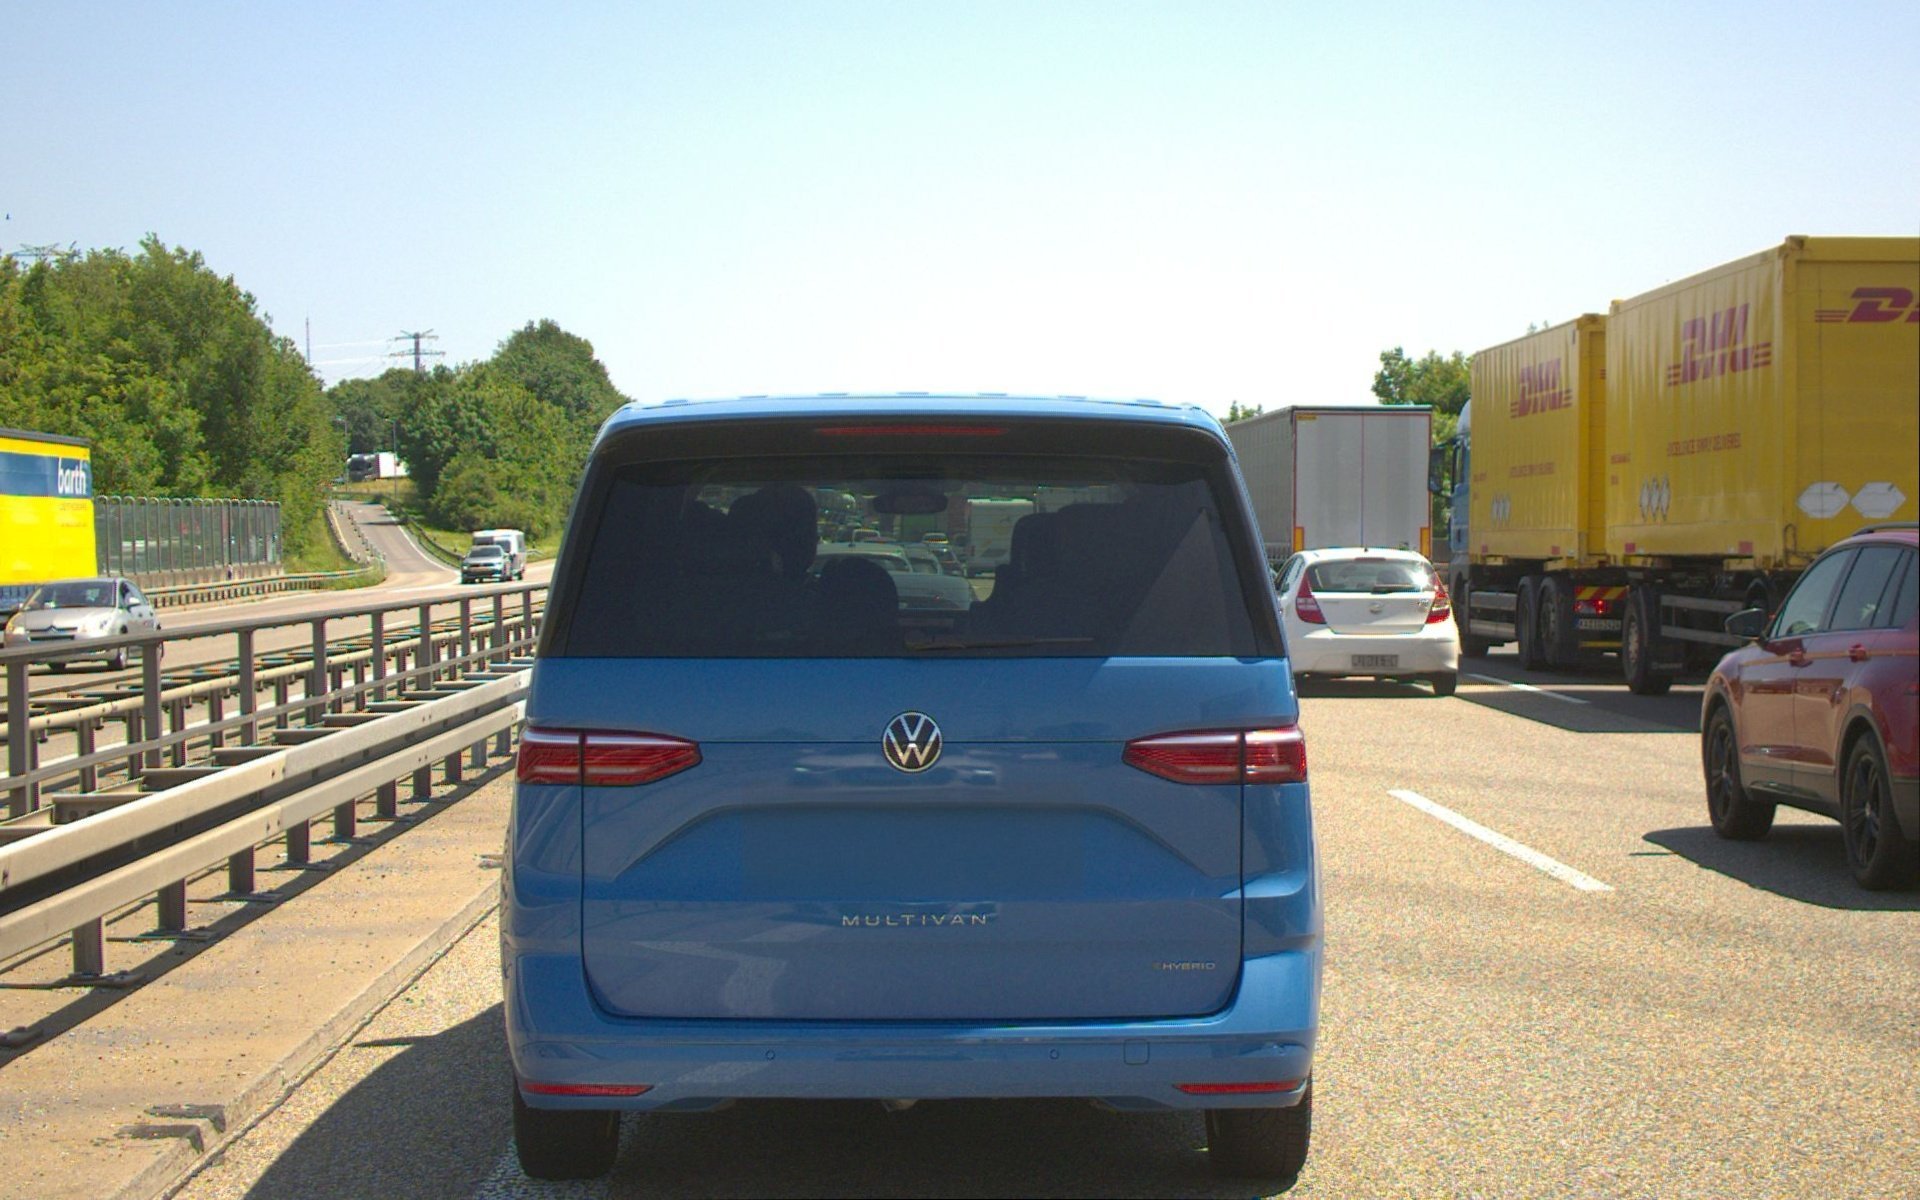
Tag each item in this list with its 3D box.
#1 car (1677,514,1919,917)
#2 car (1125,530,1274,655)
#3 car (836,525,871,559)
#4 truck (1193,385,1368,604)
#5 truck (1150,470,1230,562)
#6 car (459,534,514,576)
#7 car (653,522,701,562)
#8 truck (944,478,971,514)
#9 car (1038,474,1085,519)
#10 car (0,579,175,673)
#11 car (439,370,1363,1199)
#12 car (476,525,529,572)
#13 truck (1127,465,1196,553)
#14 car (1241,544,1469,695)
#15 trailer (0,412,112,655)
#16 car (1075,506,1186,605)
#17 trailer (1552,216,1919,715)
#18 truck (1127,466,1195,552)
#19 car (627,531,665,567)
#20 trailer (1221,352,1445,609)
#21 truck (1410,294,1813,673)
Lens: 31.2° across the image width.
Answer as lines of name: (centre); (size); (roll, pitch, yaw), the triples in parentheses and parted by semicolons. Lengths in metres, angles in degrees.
car: (4.776, 0.427, 16.394); (1.708, 1.673, 4.285); (0, 1, -2)
car: (3.354, -0.121, 48.748); (1.815, 1.673, 3.932); (1, 0, 0)
car: (-6.406, -3.486, 207.197); (1.993, 2.007, 4.000); (1, 0, -1)
truck: (7.049, -2.274, 76.749); (3.026, 4.595, 7.921); (1, 0, -1)
truck: (6.281, -2.278, 94.328); (1.798, 2.441, 4.504); (1, 0, -1)
car: (-20.207, -1.920, 146.931); (1.842, 1.745, 3.943); (1, 0, -1)
car: (-12.711, -2.580, 154.475); (1.842, 1.745, 3.943); (1, 0, -1)
truck: (-0.209, -7.773, 258.256); (1.993, 2.576, 4.553); (1, 0, -1)
car: (4.686, -4.780, 159.158); (1.993, 2.007, 4.000); (1, 0, -1)
car: (-13.442, 0.371, 52.727); (1.689, 1.299, 4.012); (-3, 0, 2)
car: (-0.157, 0.441, 9.260); (1.930, 1.867, 4.000); (1, 0, -1)
car: (-20.215, -2.264, 152.032); (1.842, 2.035, 3.943); (1, 0, -1)
truck: (6.032, -2.710, 103.137); (1.742, 2.540, 4.210); (1, 0, -1)
car: (4.054, 0.176, 35.833); (1.815, 1.465, 3.932); (1, 1, -1)
trailer: (-17.561, -1.128, 59.357); (2.628, 4.100, 14.017); (-1, 0, -1)
car: (3.409, -0.891, 69.527); (1.962, 1.929, 3.932); (1, 0, -1)
trailer: (7.939, -1.133, 32.708); (2.682, 4.074, 8.981); (1, 0, -2)
truck: (6.310, -2.842, 108.339); (1.797, 2.587, 4.306); (1, 0, -1)
car: (-18.194, -2.946, 199.413); (1.842, 2.035, 3.943); (1, 0, -1)
trailer: (7.128, -2.202, 67.297); (3.026, 4.595, 10.925); (1, 0, -1)
truck: (7.709, -1.307, 42.204); (2.699, 4.074, 9.941); (1, 1, -2)
